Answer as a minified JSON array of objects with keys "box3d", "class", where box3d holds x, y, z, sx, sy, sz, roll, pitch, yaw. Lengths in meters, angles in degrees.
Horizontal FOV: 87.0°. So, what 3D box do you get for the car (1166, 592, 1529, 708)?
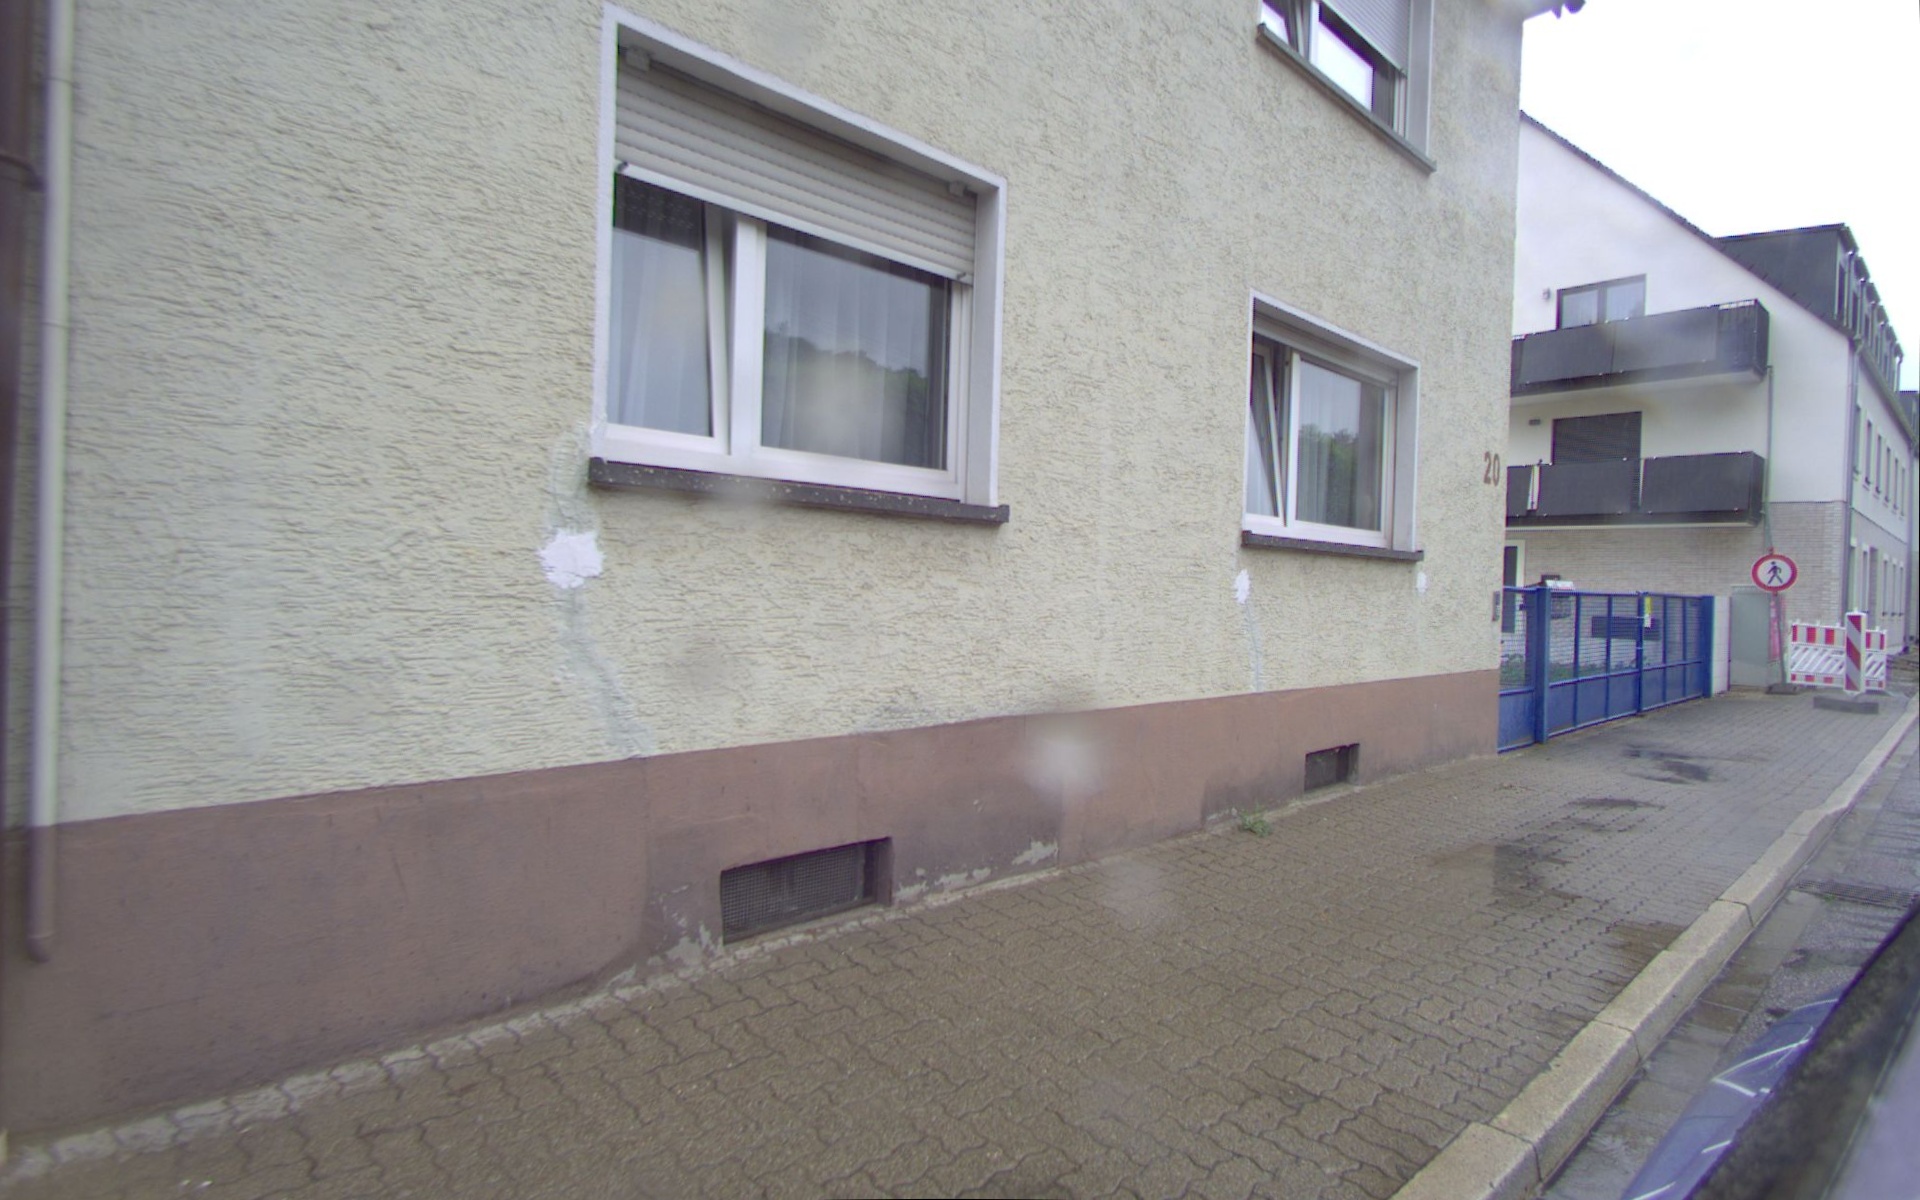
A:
[{"box3d":[5.053,0.620,13.614,1.880,1.319,4.147,0,-2,-43],"class":"car"}]
